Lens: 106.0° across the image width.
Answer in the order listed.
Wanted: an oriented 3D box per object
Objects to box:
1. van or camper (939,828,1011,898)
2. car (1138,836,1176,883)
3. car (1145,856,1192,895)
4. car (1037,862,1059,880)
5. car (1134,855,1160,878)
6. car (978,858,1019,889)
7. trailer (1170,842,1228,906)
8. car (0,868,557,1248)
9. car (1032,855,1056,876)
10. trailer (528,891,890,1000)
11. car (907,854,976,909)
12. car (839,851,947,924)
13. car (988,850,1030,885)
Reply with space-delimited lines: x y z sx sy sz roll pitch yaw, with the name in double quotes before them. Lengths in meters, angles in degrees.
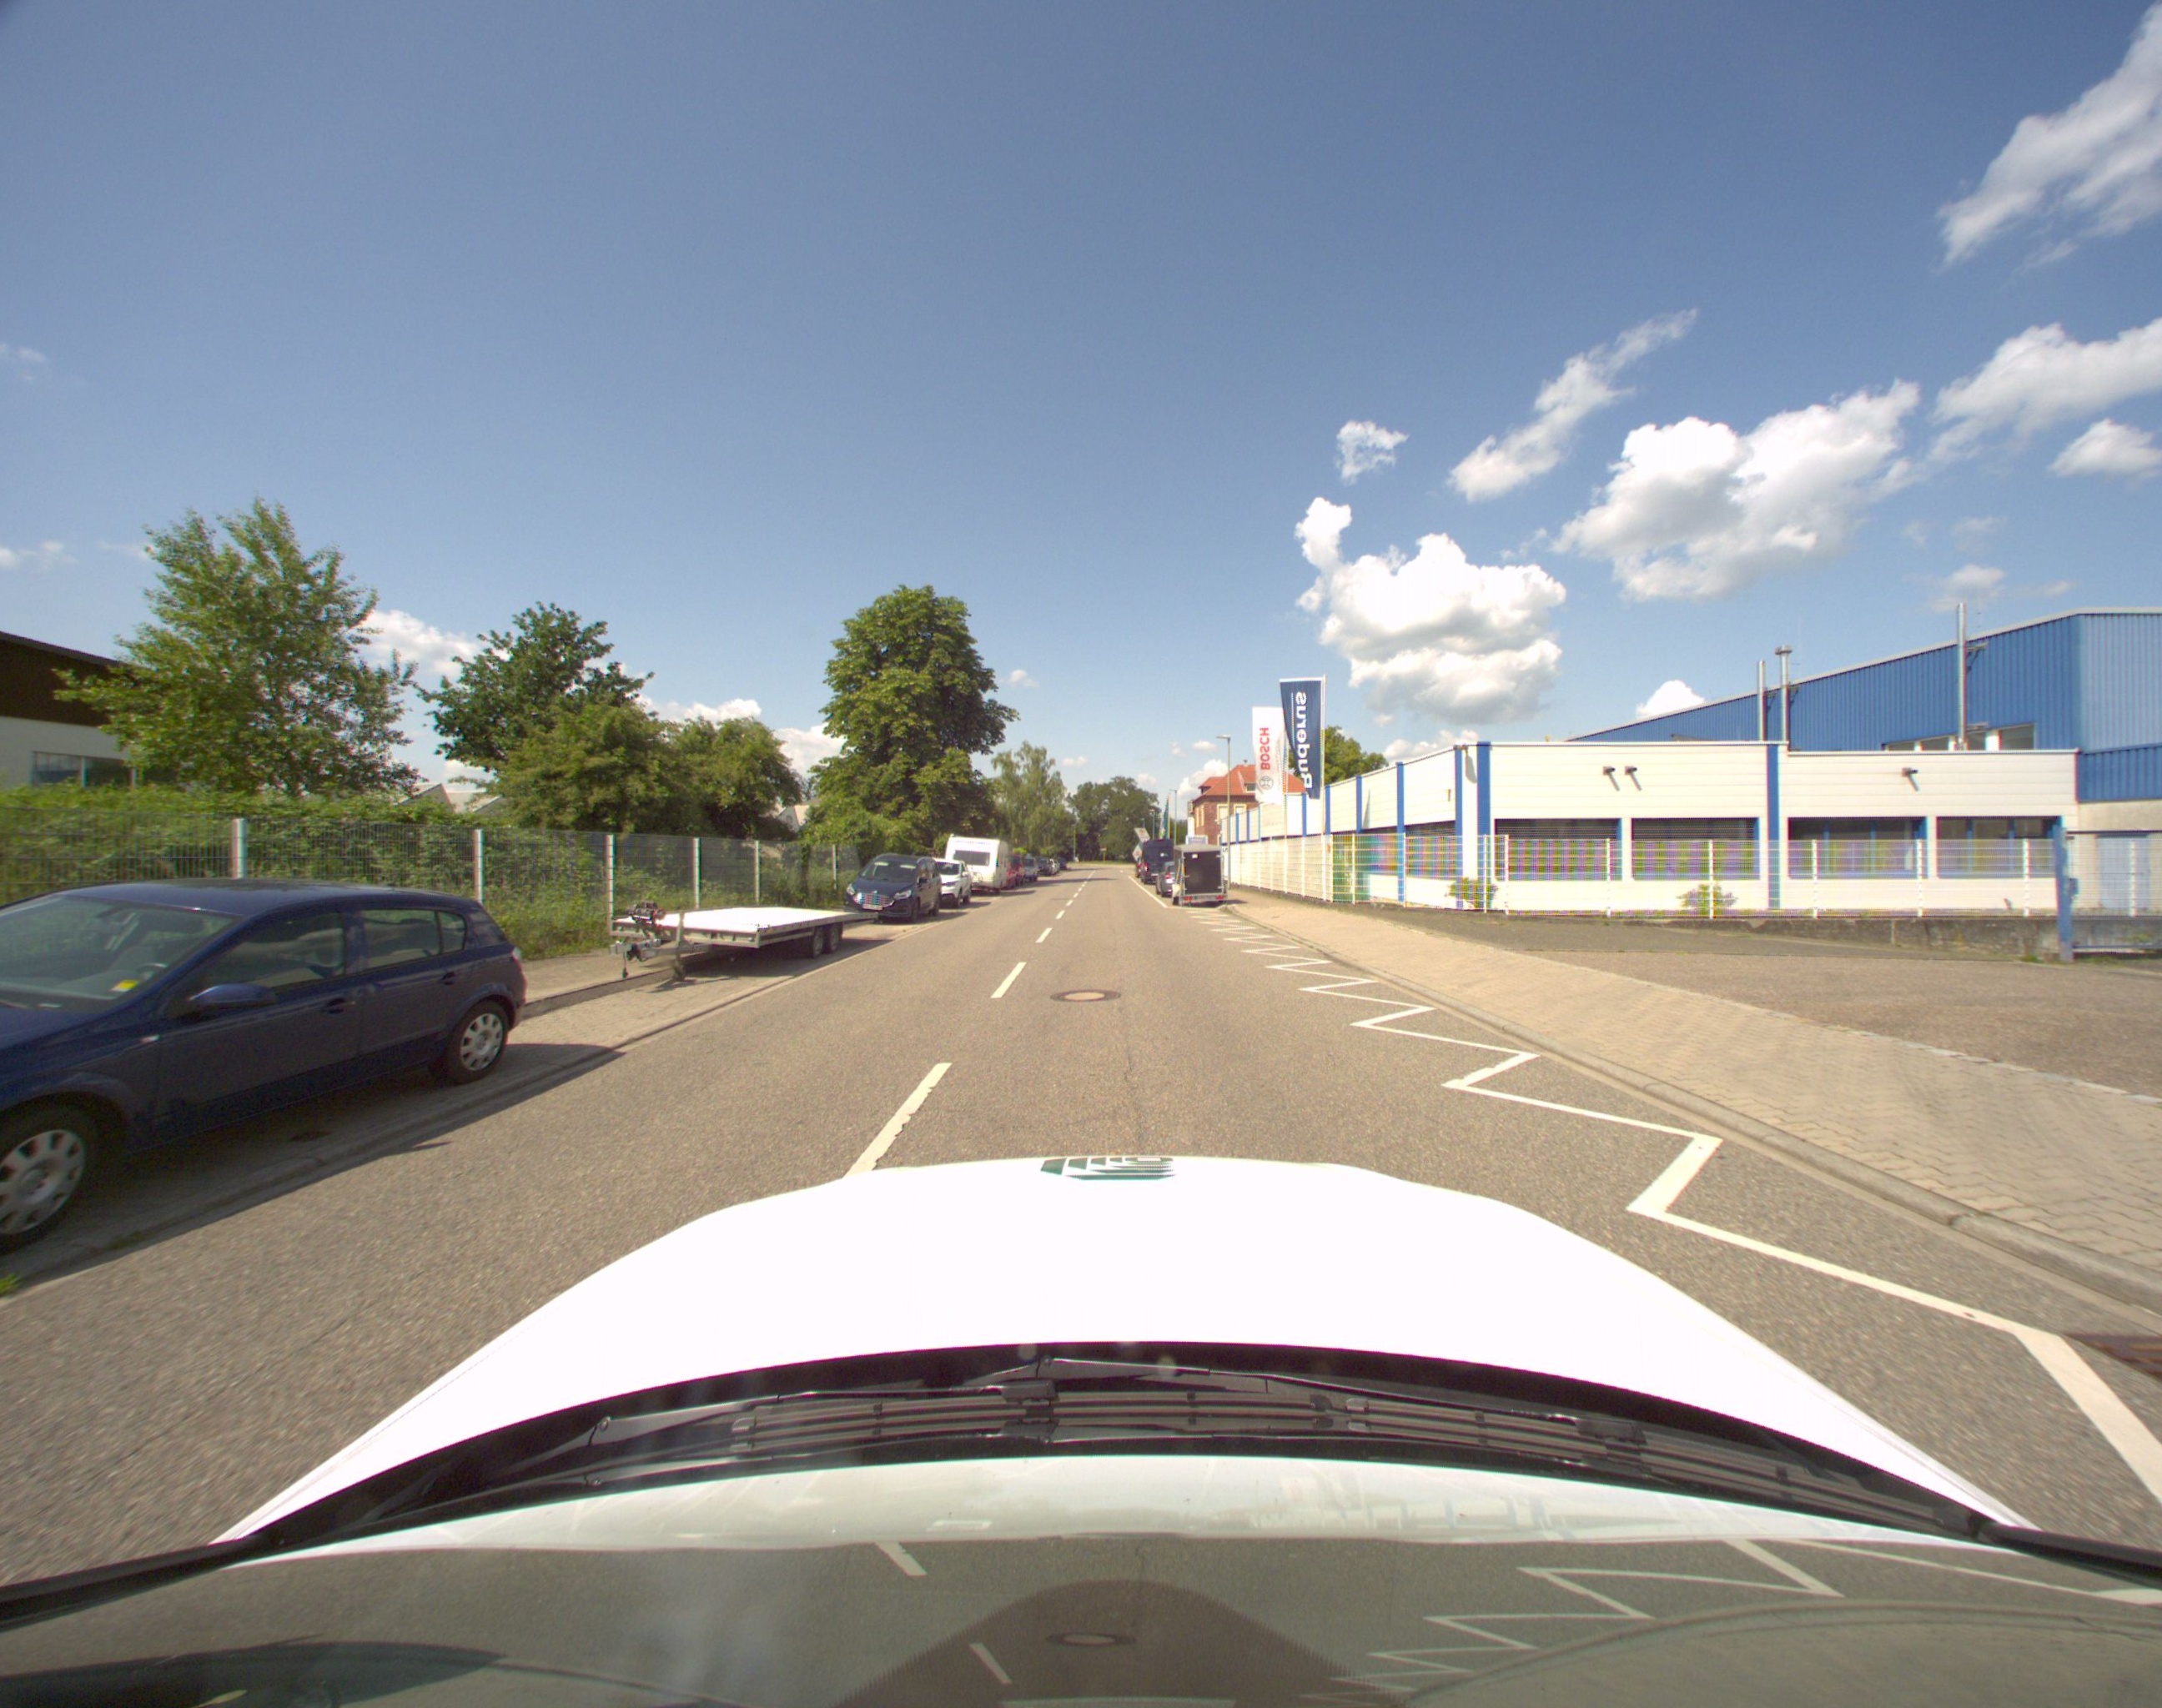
"van or camper" -4.740 0.397 37.742 2.255 2.803 6.832 3 0 0
"car" 4.679 0.336 50.766 1.930 2.748 6.156 0 0 1
"car" 3.572 0.864 33.760 1.566 1.507 4.134 0 0 1
"car" -3.157 1.598 78.299 1.693 1.595 4.790 -1 0 2
"car" 5.074 0.958 63.156 1.818 1.664 4.558 -1 0 2
"car" -4.474 1.041 44.685 1.619 1.532 4.270 4 0 2
"trailer" 3.906 0.653 27.339 1.595 2.037 2.741 0 -1 1
"car" -5.224 0.866 4.777 1.572 1.512 4.200 0 0 0
"car" -3.181 1.019 71.521 1.604 1.745 4.640 2 0 3
"trailer" -5.302 1.255 13.322 2.262 0.883 7.137 4 0 3
"car" -4.866 0.912 28.955 1.679 1.692 4.442 4 0 -2
"car" -5.082 0.849 22.686 1.820 1.793 4.736 -1 0 1
"car" -4.439 0.826 50.747 1.891 1.954 4.959 5 -1 2
